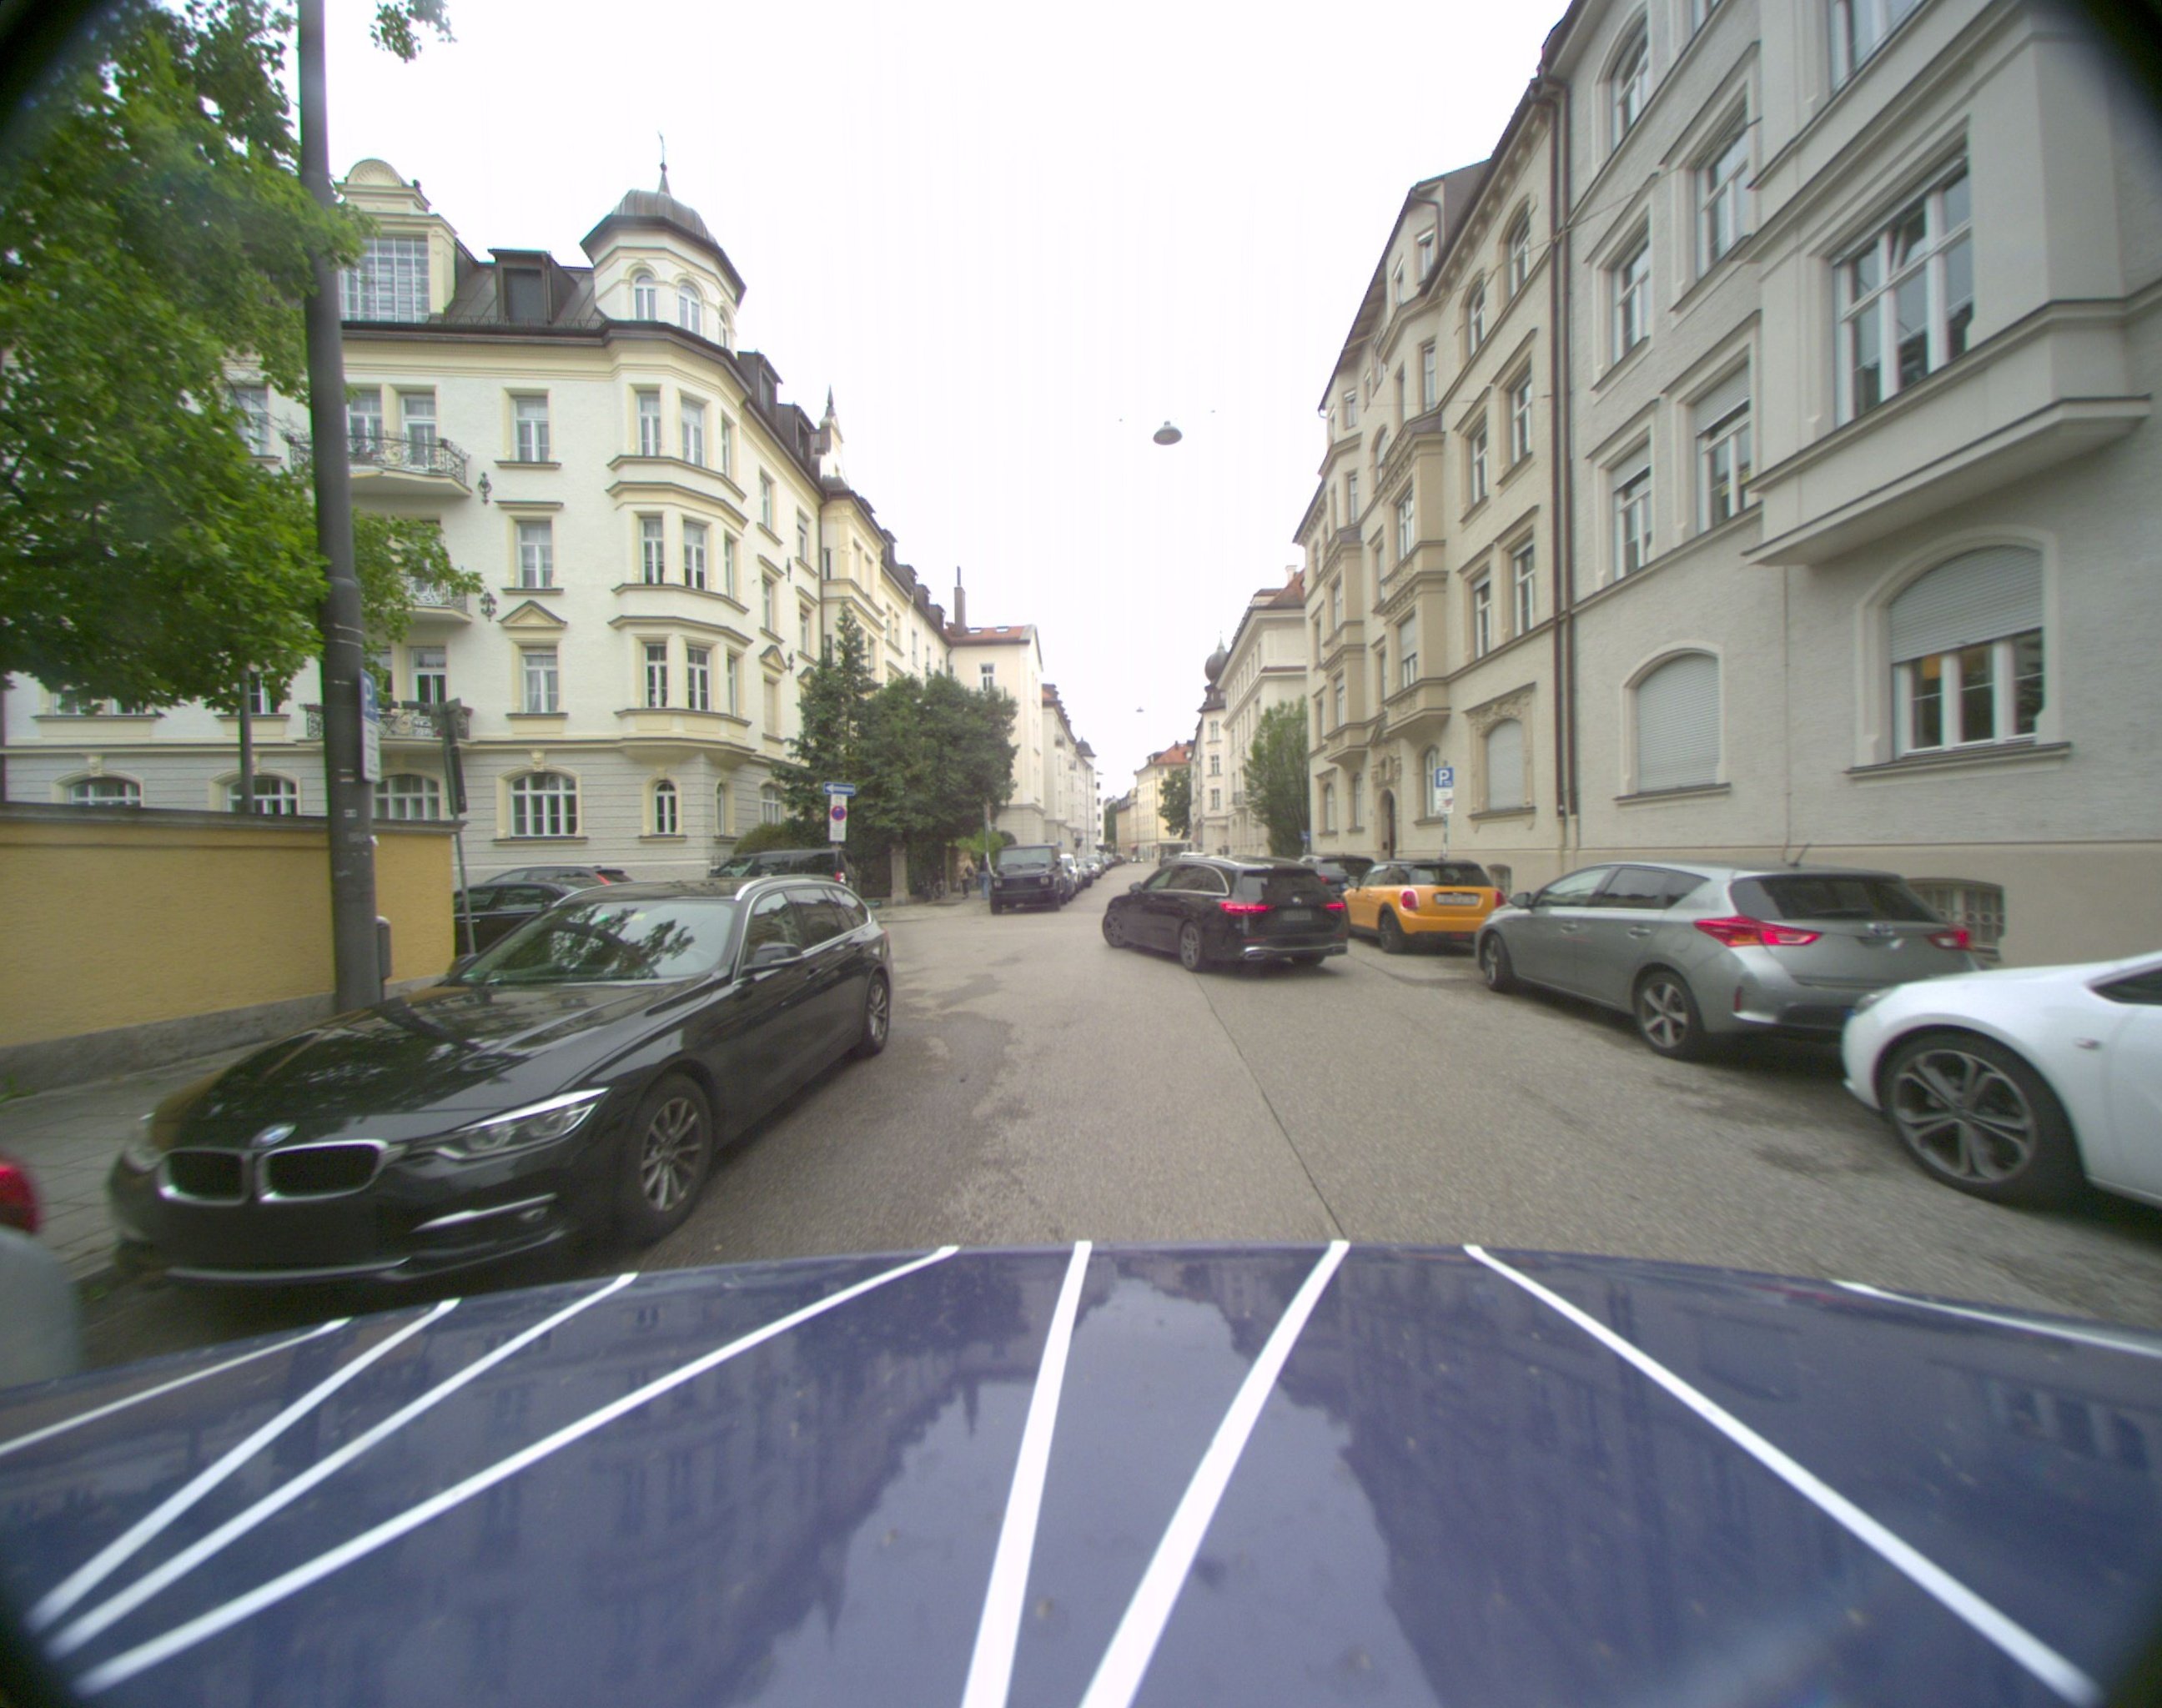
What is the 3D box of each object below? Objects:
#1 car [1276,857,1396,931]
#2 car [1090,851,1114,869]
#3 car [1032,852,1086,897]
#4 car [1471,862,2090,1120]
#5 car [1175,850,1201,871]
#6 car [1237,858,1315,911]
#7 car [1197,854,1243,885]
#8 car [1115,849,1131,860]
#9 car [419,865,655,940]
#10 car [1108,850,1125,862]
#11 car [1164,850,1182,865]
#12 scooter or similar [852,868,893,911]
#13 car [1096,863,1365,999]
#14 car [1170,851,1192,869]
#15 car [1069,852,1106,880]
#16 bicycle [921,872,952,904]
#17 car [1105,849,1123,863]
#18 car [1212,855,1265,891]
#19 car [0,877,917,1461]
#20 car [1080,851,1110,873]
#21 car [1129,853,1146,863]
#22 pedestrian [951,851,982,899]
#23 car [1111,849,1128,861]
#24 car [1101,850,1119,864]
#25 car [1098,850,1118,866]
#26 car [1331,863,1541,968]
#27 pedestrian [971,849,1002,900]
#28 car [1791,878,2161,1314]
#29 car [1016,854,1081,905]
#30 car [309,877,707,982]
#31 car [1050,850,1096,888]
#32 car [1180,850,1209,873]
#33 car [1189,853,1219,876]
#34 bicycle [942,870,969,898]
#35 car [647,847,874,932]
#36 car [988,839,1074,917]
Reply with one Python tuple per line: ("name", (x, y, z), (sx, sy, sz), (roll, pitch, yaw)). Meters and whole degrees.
("car", (5.588, 0.807, 17.133), (1.626, 1.448, 3.942), (0, 0, 4))
("car", (2.122, 0.601, 74.613), (1.998, 1.585, 4.300), (-5, 0, 5))
("car", (-0.866, 0.820, 32.680), (1.998, 1.643, 4.449), (-4, 0, 1))
("car", (5.158, 0.835, 6.499), (1.809, 1.455, 3.938), (0, 0, 4))
("car", (8.185, 0.478, 58.160), (1.626, 1.522, 3.921), (0, 0, 3))
("car", (5.750, 0.850, 22.789), (1.626, 1.421, 3.942), (0, 0, 5))
("car", (6.785, 0.746, 37.387), (1.627, 1.421, 3.689), (0, 0, 1))
("car", (6.630, 0.051, 119.067), (1.997, 1.585, 4.301), (-5, 0, 10))
("car", (-12.604, 1.108, 17.815), (4.224, 1.577, 1.743), (-1, -2, -3))
("car", (4.952, 0.261, 105.402), (1.998, 1.585, 4.429), (-5, 0, 6))
("car", (9.558, 0.328, 79.235), (1.626, 1.522, 3.921), (0, 0, 3))
("scooter or similar", (-6.328, 1.072, 23.066), (1.089, 1.256, 0.447), (-1, 1, 4))
("car", (1.776, 0.868, 10.754), (1.794, 1.405, 4.575), (-1, 0, -17))
("car", (8.951, 0.489, 68.064), (1.626, 1.522, 3.921), (0, 0, 3))
("car", (0.478, 0.736, 49.804), (1.998, 1.585, 4.300), (-5, 0, 5))
("bicycle", (-4.947, 1.141, 26.043), (0.448, 0.979, 1.780), (-1, 0, 8))
("car", (4.414, 0.299, 99.988), (1.998, 1.672, 4.300), (-5, 0, 6))
("car", (6.747, 0.788, 32.847), (1.627, 1.421, 3.689), (0, 0, 1))
("car", (-2.460, 0.964, 4.595), (1.717, 1.445, 4.955), (-1, 0, 1))
("car", (1.187, 0.628, 60.659), (1.998, 1.585, 4.300), (-5, 0, 5))
("car", (10.404, 0.739, 140.854), (2.001, 1.641, 3.995), (-1, 0, -13))
("pedestrian", (-4.075, 0.739, 27.127), (0.876, 1.680, 1.052), (-1, 1, 2))
("car", (5.593, 0.080, 110.245), (1.997, 1.585, 4.301), (-5, 0, 8))
("car", (3.665, 0.378, 94.888), (1.998, 1.585, 4.300), (-5, 0, 5))
("car", (3.066, 0.467, 85.306), (1.998, 1.585, 4.300), (-5, 0, 5))
("car", (5.439, 0.858, 12.208), (1.809, 1.355, 3.730), (0, 0, 4))
("pedestrian", (-3.343, 0.708, 26.945), (0.876, 1.745, 1.052), (-1, 1, 2))
("car", (4.658, 0.870, 1.829), (1.860, 1.455, 4.379), (0, 0, 1))
("car", (-1.104, 0.875, 27.514), (1.998, 1.585, 3.855), (-4, 0, 1))
("car", (-9.006, 1.152, 12.317), (4.954, 1.404, 1.742), (-1, 0, -4))
("car", (-0.319, 0.711, 37.616), (1.998, 1.585, 4.299), (-4, 0, 2))
("car", (7.812, 0.510, 52.666), (1.626, 1.522, 3.690), (0, 0, 3))
("car", (7.715, 0.635, 47.881), (1.626, 1.421, 3.690), (0, 0, 5))
("bicycle", (-4.709, 1.109, 28.496), (0.448, 0.979, 1.780), (-1, 0, 8))
("car", (-7.544, 0.837, 18.212), (4.677, 1.860, 1.743), (-1, -2, -3))
("car", (-1.362, 0.656, 22.503), (1.998, 1.949, 4.433), (-4, 0, 1))
